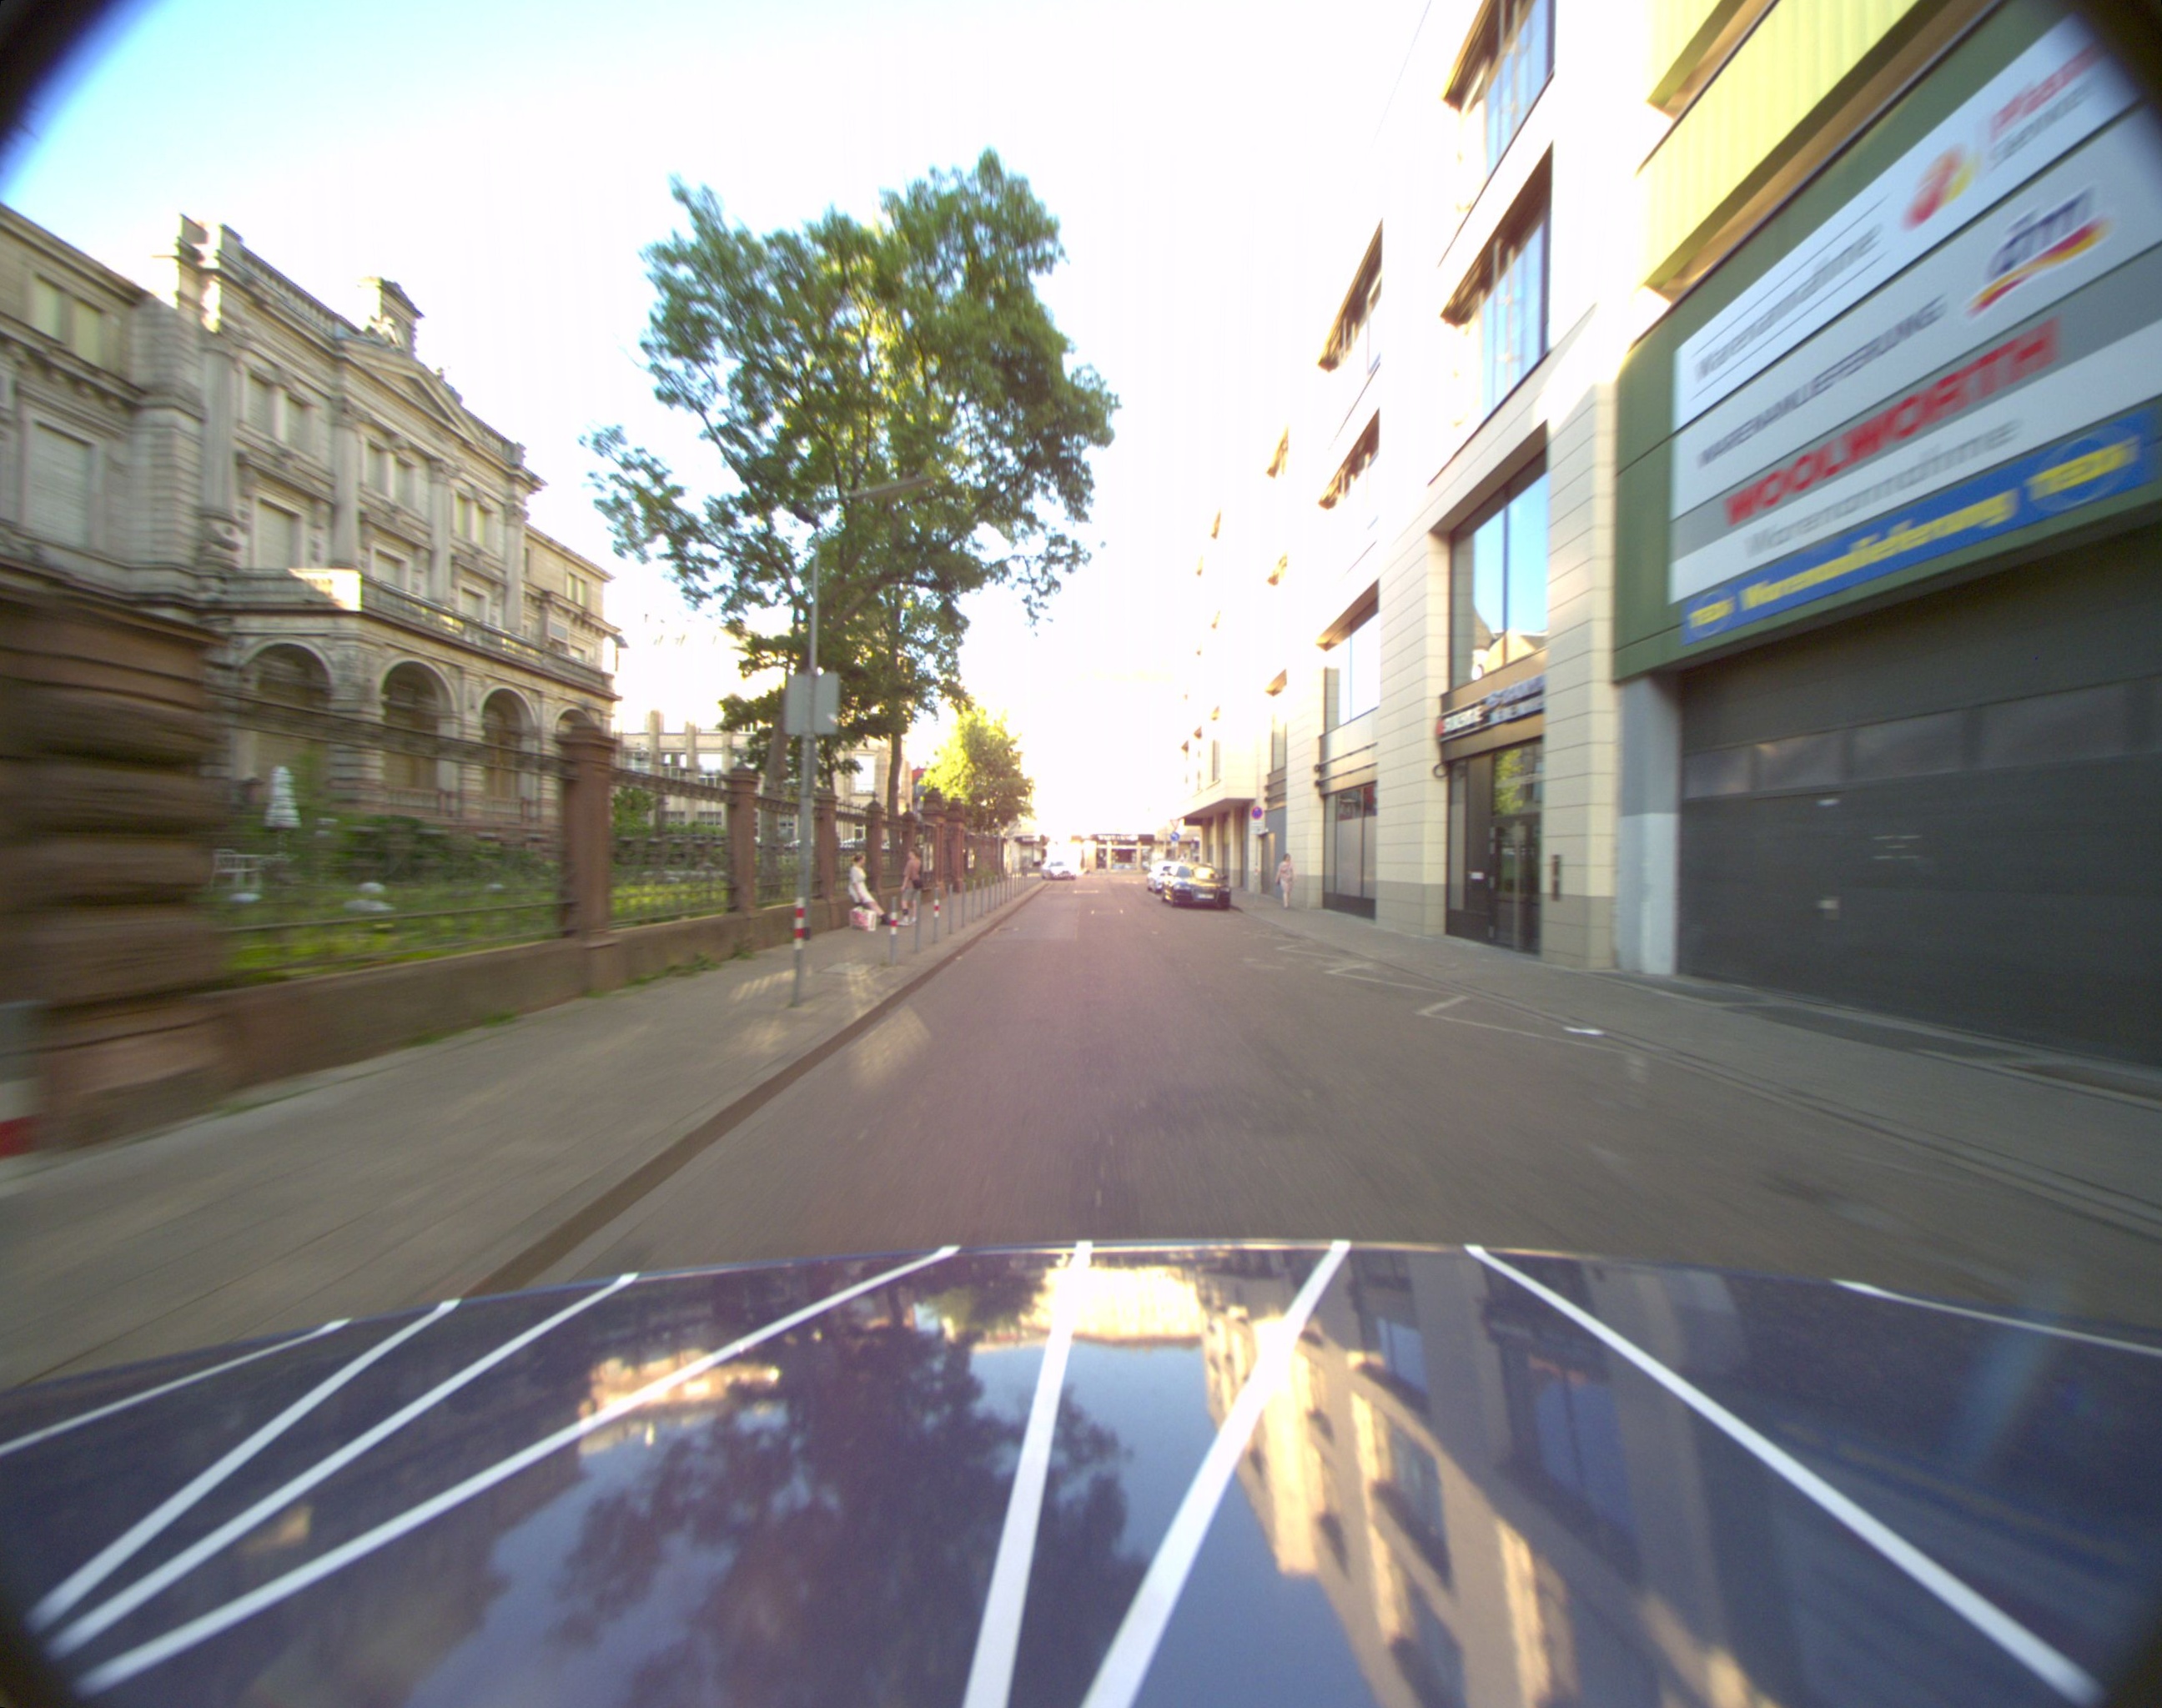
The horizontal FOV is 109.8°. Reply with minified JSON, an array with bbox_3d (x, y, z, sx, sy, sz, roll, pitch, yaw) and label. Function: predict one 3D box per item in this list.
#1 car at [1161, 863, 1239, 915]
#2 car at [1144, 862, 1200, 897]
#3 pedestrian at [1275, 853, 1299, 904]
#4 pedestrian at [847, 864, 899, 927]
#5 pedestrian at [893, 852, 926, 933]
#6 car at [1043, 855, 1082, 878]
[{"bbox_3d":[3.952,1.128,25.962,1.998,1.409,4.558,2,1,1],"label":"car"},{"bbox_3d":[4.156,1.144,35.166,1.818,1.440,3.628,2,0,-5],"label":"car"},{"bbox_3d":[6.581,0.781,24.262,0.620,1.616,0.565,0,1,1],"label":"pedestrian"},{"bbox_3d":[-4.250,0.845,15.584,0.928,1.242,0.362,2,1,-3],"label":"pedestrian"},{"bbox_3d":[-3.570,0.783,15.827,0.437,1.637,0.557,2,1,7],"label":"pedestrian"},{"bbox_3d":[-1.354,0.843,53.556,1.791,1.515,3.994,-1,0,-16],"label":"car"}]
